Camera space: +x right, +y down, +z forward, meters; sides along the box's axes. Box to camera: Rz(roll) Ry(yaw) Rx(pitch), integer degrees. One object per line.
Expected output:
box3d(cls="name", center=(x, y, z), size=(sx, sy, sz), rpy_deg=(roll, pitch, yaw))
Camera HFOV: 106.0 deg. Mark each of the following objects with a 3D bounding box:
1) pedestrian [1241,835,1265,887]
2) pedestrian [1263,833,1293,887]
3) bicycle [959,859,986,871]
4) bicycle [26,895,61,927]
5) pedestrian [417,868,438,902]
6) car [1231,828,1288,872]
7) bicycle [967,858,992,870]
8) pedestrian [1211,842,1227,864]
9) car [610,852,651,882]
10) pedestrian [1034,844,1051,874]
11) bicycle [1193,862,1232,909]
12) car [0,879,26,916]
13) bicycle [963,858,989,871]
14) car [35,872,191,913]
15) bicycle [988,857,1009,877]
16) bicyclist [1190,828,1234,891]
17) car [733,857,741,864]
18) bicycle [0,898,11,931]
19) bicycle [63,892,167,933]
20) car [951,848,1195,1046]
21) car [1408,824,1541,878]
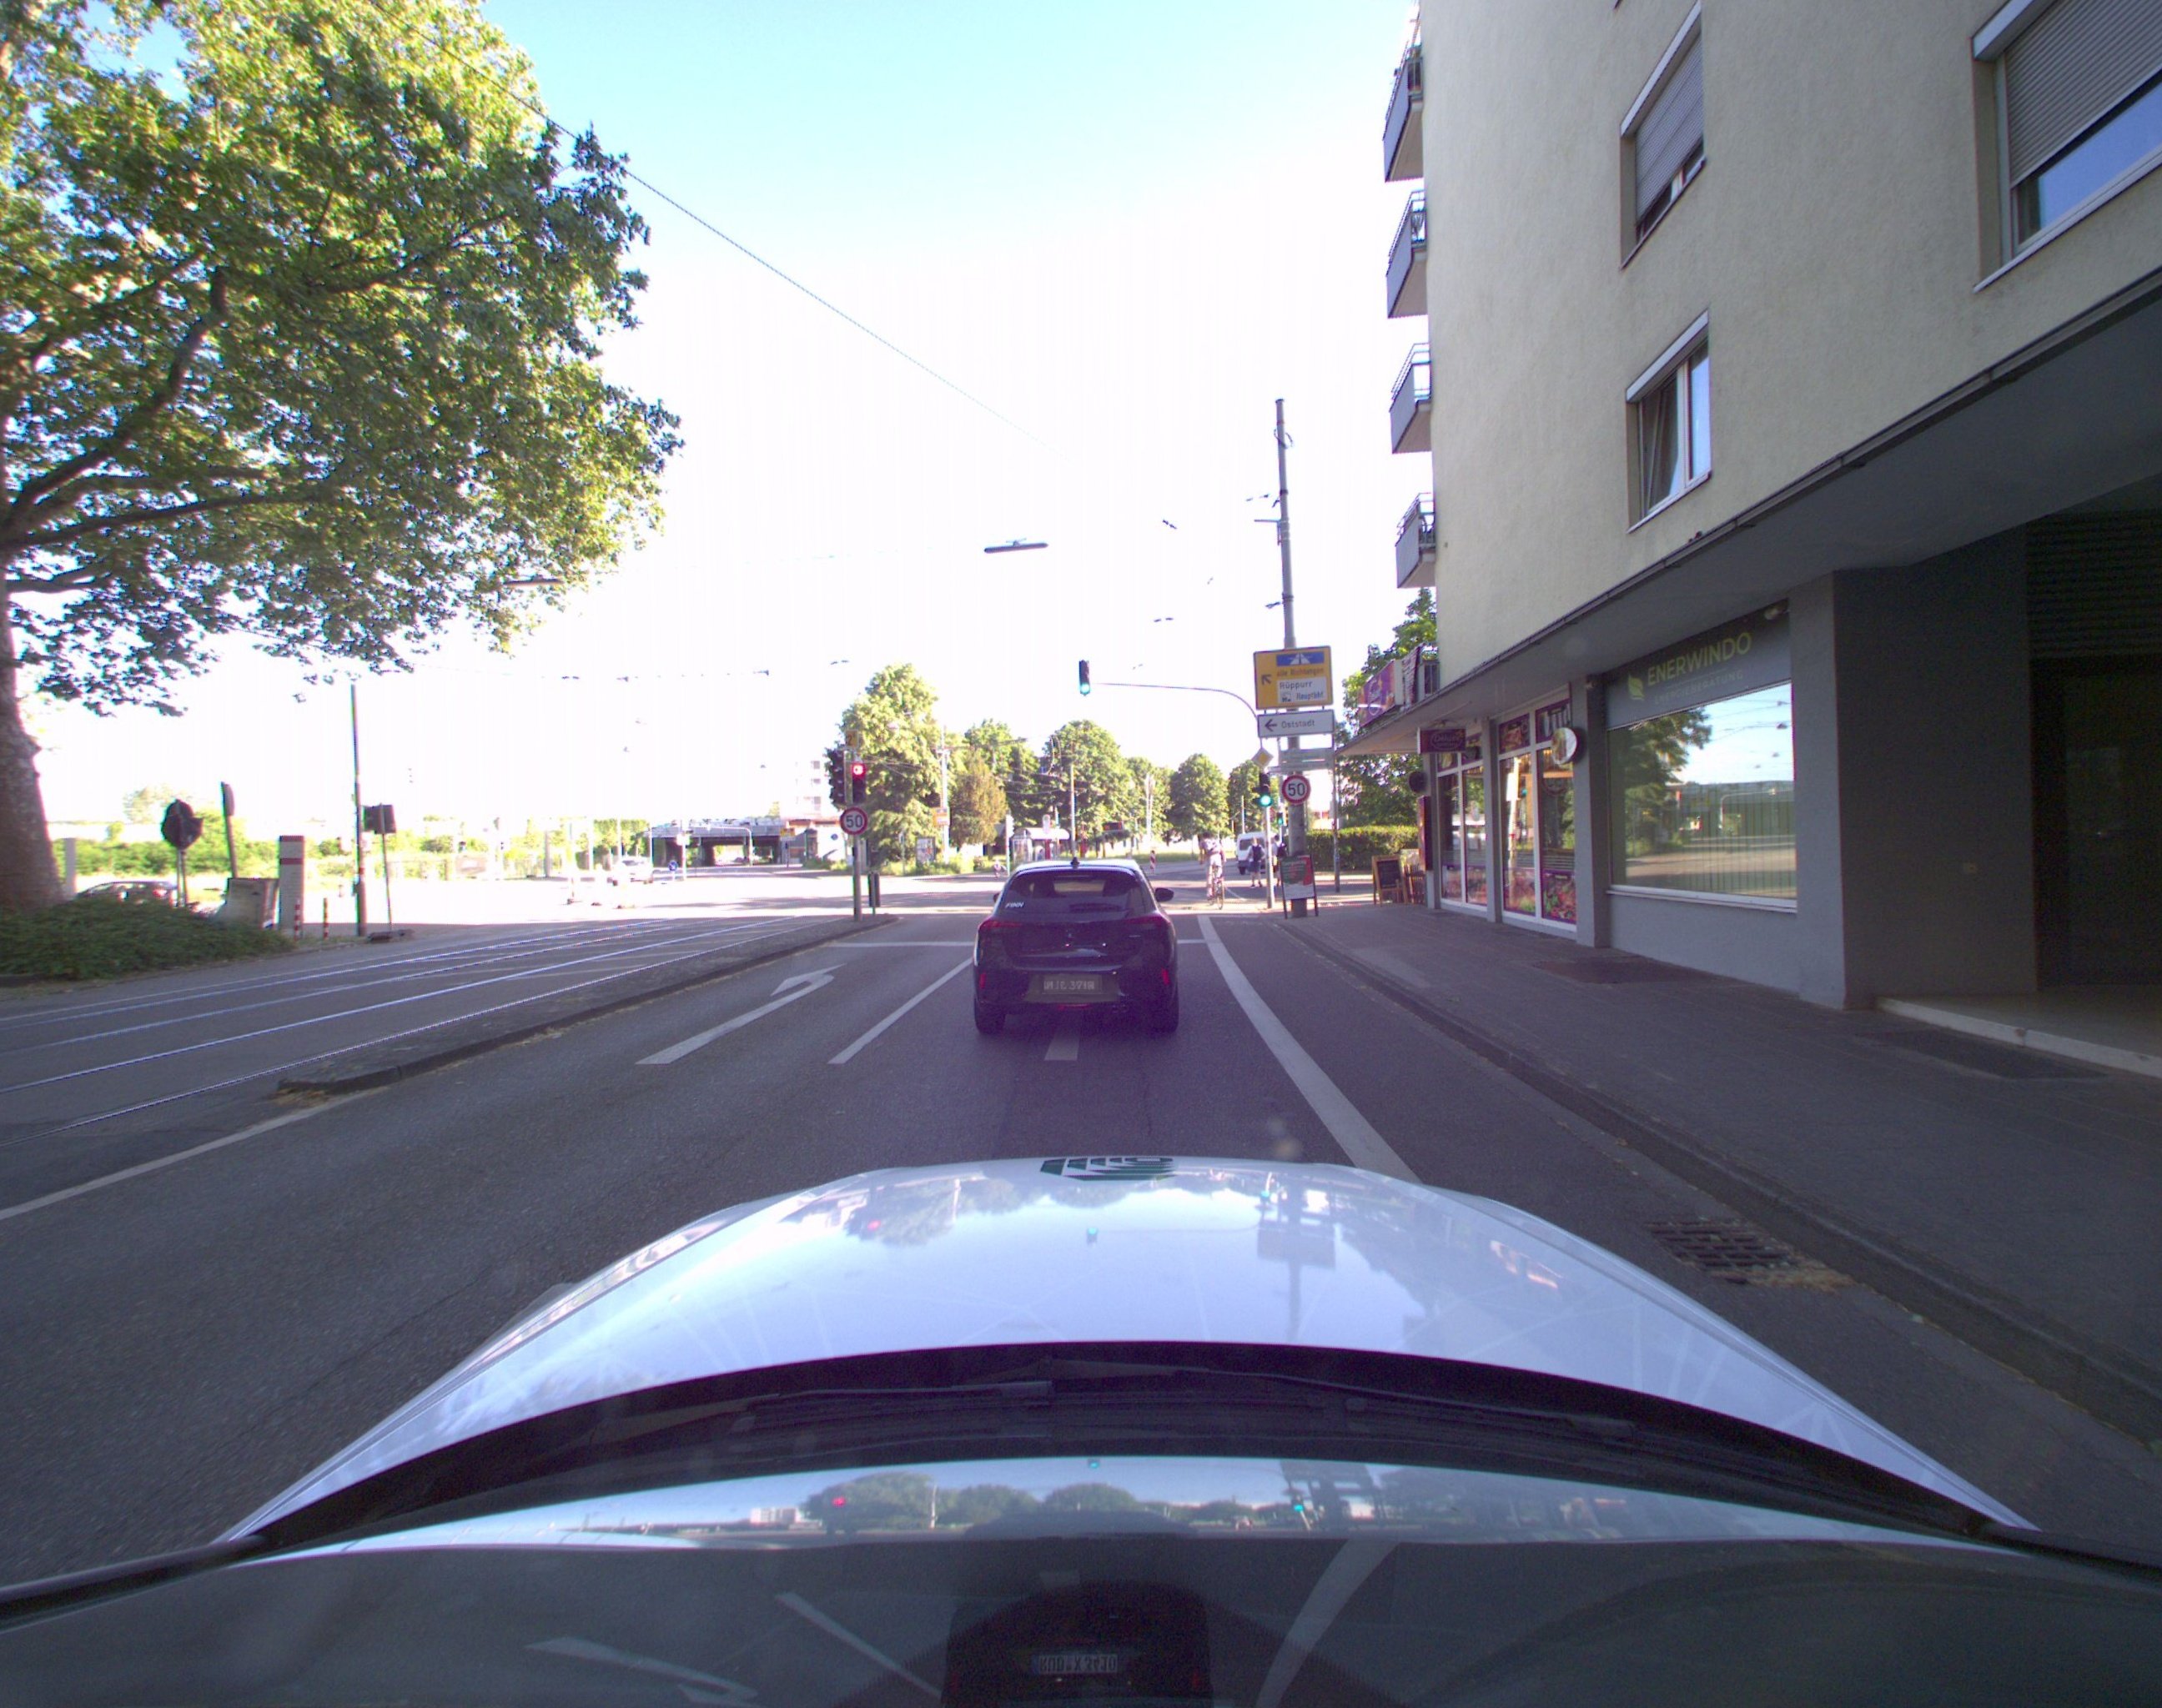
box3d(cls="pedestrian", center=(6.047, 0.249, 28.621), size=(0.696, 1.792, 0.617), rpy_deg=(-2, 0, 1))
box3d(cls="pedestrian", center=(6.789, 0.211, 28.098), size=(0.696, 1.846, 0.705), rpy_deg=(-2, 0, 41))
box3d(cls="bicycle", center=(-8.386, 0.845, 63.011), size=(1.866, 0.906, 0.661), rpy_deg=(-2, 0, 8))
box3d(cls="bicycle", center=(-26.391, 1.441, 20.713), size=(1.757, 0.759, 0.360), rpy_deg=(-1, 0, 32))
box3d(cls="pedestrian", center=(-31.427, 1.483, 39.157), size=(0.602, 1.596, 0.679), rpy_deg=(0, -1, -24))
box3d(cls="car", center=(9.893, -0.193, 44.842), size=(2.070, 2.277, 4.331), rpy_deg=(-1, -1, 26))
box3d(cls="bicycle", center=(-8.091, 0.822, 64.862), size=(1.866, 0.906, 0.661), rpy_deg=(-2, 0, 8))
box3d(cls="pedestrian", center=(11.556, -0.105, 68.201), size=(0.949, 1.793, 1.001), rpy_deg=(-2, 0, 27))
box3d(cls="car", center=(-27.026, 0.748, 48.951), size=(2.005, 1.631, 4.589), rpy_deg=(-2, 1, -28))
box3d(cls="pedestrian", center=(-2.281, 0.292, 47.975), size=(0.704, 1.693, 0.720), rpy_deg=(-2, 0, -36))
box3d(cls="bicycle", center=(3.290, 0.762, 20.533), size=(0.665, 1.059, 2.083), rpy_deg=(-2, 0, 2))
box3d(cls="car", center=(-48.608, 1.950, 34.650), size=(4.006, 1.419, 1.880), rpy_deg=(-1, 6, -25))
box3d(cls="bicycle", center=(-8.264, 0.823, 63.994), size=(1.866, 0.906, 0.661), rpy_deg=(-2, 0, 8))
box3d(cls="car", center=(-43.501, 1.685, 36.747), size=(4.006, 1.419, 1.880), rpy_deg=(-1, 6, -25))
box3d(cls="bicycle", center=(-4.619, 0.740, 45.722), size=(0.821, 1.059, 1.885), rpy_deg=(-2, 0, 4))
box3d(cls="bicyclist", center=(3.289, 0.126, 20.545), size=(0.837, 1.510, 1.368), rpy_deg=(-2, 0, 0))
box3d(cls="car", center=(-98.044, 1.884, 231.907), size=(2.003, 2.014, 3.967), rpy_deg=(0, -1, -25))
box3d(cls="bicycle", center=(-25.181, 1.416, 18.695), size=(0.360, 0.759, 1.759), rpy_deg=(-2, 0, -40))
box3d(cls="bicycle", center=(-23.382, 1.415, 19.727), size=(1.775, 0.888, 0.357), rpy_deg=(-2, 0, -11))
box3d(cls="car", center=(0.044, 0.690, 8.111), size=(1.793, 1.441, 3.943), rpy_deg=(-2, 0, 3))
box3d(cls="car", center=(14.853, -0.080, 30.946), size=(4.150, 1.814, 1.811), rpy_deg=(-2, -3, 10))
